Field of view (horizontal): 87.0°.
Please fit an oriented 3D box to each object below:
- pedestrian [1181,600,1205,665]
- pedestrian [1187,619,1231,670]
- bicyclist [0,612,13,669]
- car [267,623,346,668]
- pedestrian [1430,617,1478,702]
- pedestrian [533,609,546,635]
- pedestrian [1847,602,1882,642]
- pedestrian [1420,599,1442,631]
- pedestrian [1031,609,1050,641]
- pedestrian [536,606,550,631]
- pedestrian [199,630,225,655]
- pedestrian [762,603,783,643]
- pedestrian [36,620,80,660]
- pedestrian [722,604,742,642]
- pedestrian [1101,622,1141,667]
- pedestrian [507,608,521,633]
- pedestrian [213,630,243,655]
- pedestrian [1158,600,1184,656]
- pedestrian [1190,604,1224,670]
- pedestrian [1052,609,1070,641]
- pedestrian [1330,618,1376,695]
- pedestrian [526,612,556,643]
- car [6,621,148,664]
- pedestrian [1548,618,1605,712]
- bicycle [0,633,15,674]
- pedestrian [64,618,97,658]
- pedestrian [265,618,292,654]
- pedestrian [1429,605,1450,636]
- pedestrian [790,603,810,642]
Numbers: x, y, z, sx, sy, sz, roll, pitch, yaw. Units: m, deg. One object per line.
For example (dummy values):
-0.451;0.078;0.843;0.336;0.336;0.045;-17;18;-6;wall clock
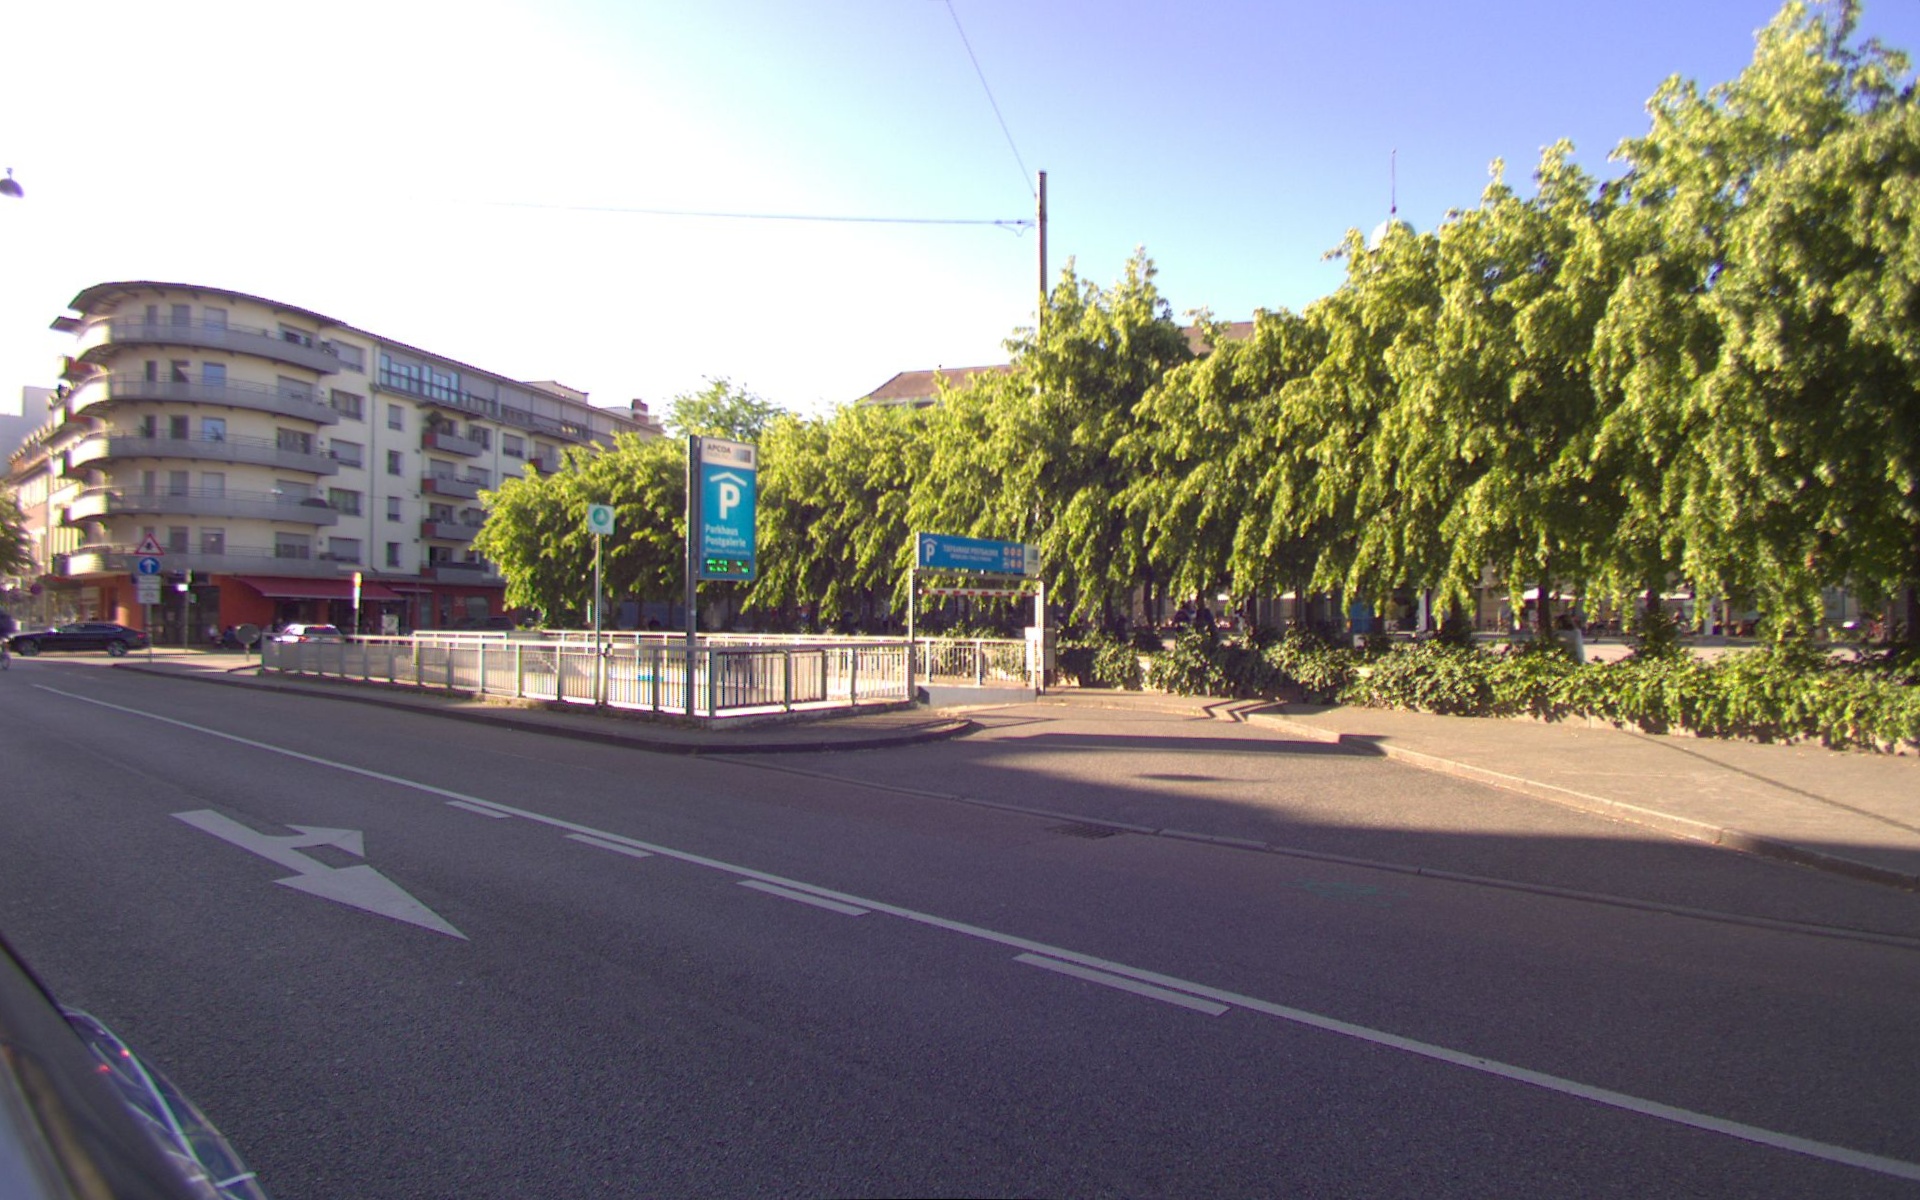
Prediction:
5.870;0.812;25.473;0.522;1.594;0.680;-1;0;19;pedestrian
5.505;0.969;22.405;0.682;1.079;0.686;-1;0;-13;pedestrian
-28.998;1.207;30.340;0.809;1.722;0.694;-1;-3;37;bicyclist
-24.671;1.670;38.179;3.908;1.542;1.615;-1;0;43;car
8.743;1.029;17.908;0.621;1.447;0.645;-1;0;39;pedestrian
-30.734;1.577;74.005;0.735;1.857;0.686;-1;0;-11;pedestrian
35.378;0.871;39.603;0.729;1.542;0.695;-1;0;-7;pedestrian
23.347;0.746;50.163;0.672;1.536;0.696;-1;0;-19;pedestrian
3.570;1.121;44.863;0.752;1.385;0.684;-1;0;1;pedestrian
-31.329;1.402;76.072;0.684;1.857;0.737;-1;0;41;pedestrian
-37.647;2.139;50.950;0.882;1.207;0.772;-1;0;30;pedestrian
-9.051;1.104;48.968;0.681;1.877;0.741;-1;0;27;pedestrian
-41.168;1.819;46.214;1.053;1.732;1.082;-1;0;-7;pedestrian
-11.360;1.155;50.428;0.679;1.857;0.743;-1;0;19;pedestrian
4.002;1.094;25.189;0.682;1.079;0.686;-1;0;-29;pedestrian
-32.819;1.498;74.507;0.737;1.857;0.684;-1;0;-1;pedestrian
-36.826;2.128;50.905;0.827;1.207;0.931;-1;0;16;pedestrian
5.346;0.698;25.646;0.545;1.385;0.680;-1;0;19;pedestrian
5.819;0.854;23.838;0.688;1.511;0.680;-1;0;19;pedestrian
4.465;1.109;44.826;0.684;1.385;0.684;-1;0;1;pedestrian
7.516;1.064;19.354;0.622;1.409;0.644;-1;0;44;pedestrian
-23.724;1.549;57.303;1.125;1.678;1.271;-1;0;4;pedestrian
-35.883;1.694;41.274;4.180;1.542;1.681;-1;0;-36;car
9.800;1.015;16.099;0.611;1.447;0.588;-1;0;14;pedestrian
-28.785;1.579;30.150;1.955;1.171;0.610;0;-3;39;bicycle
-42.799;1.848;49.254;0.785;1.934;0.984;-1;0;19;pedestrian
-34.323;1.820;50.977;0.946;1.762;1.065;-1;0;-23;pedestrian
24.019;1.010;50.698;0.672;1.542;0.696;-1;0;-18;pedestrian
-7.866;1.098;49.834;0.681;1.857;0.741;-1;0;27;pedestrian
